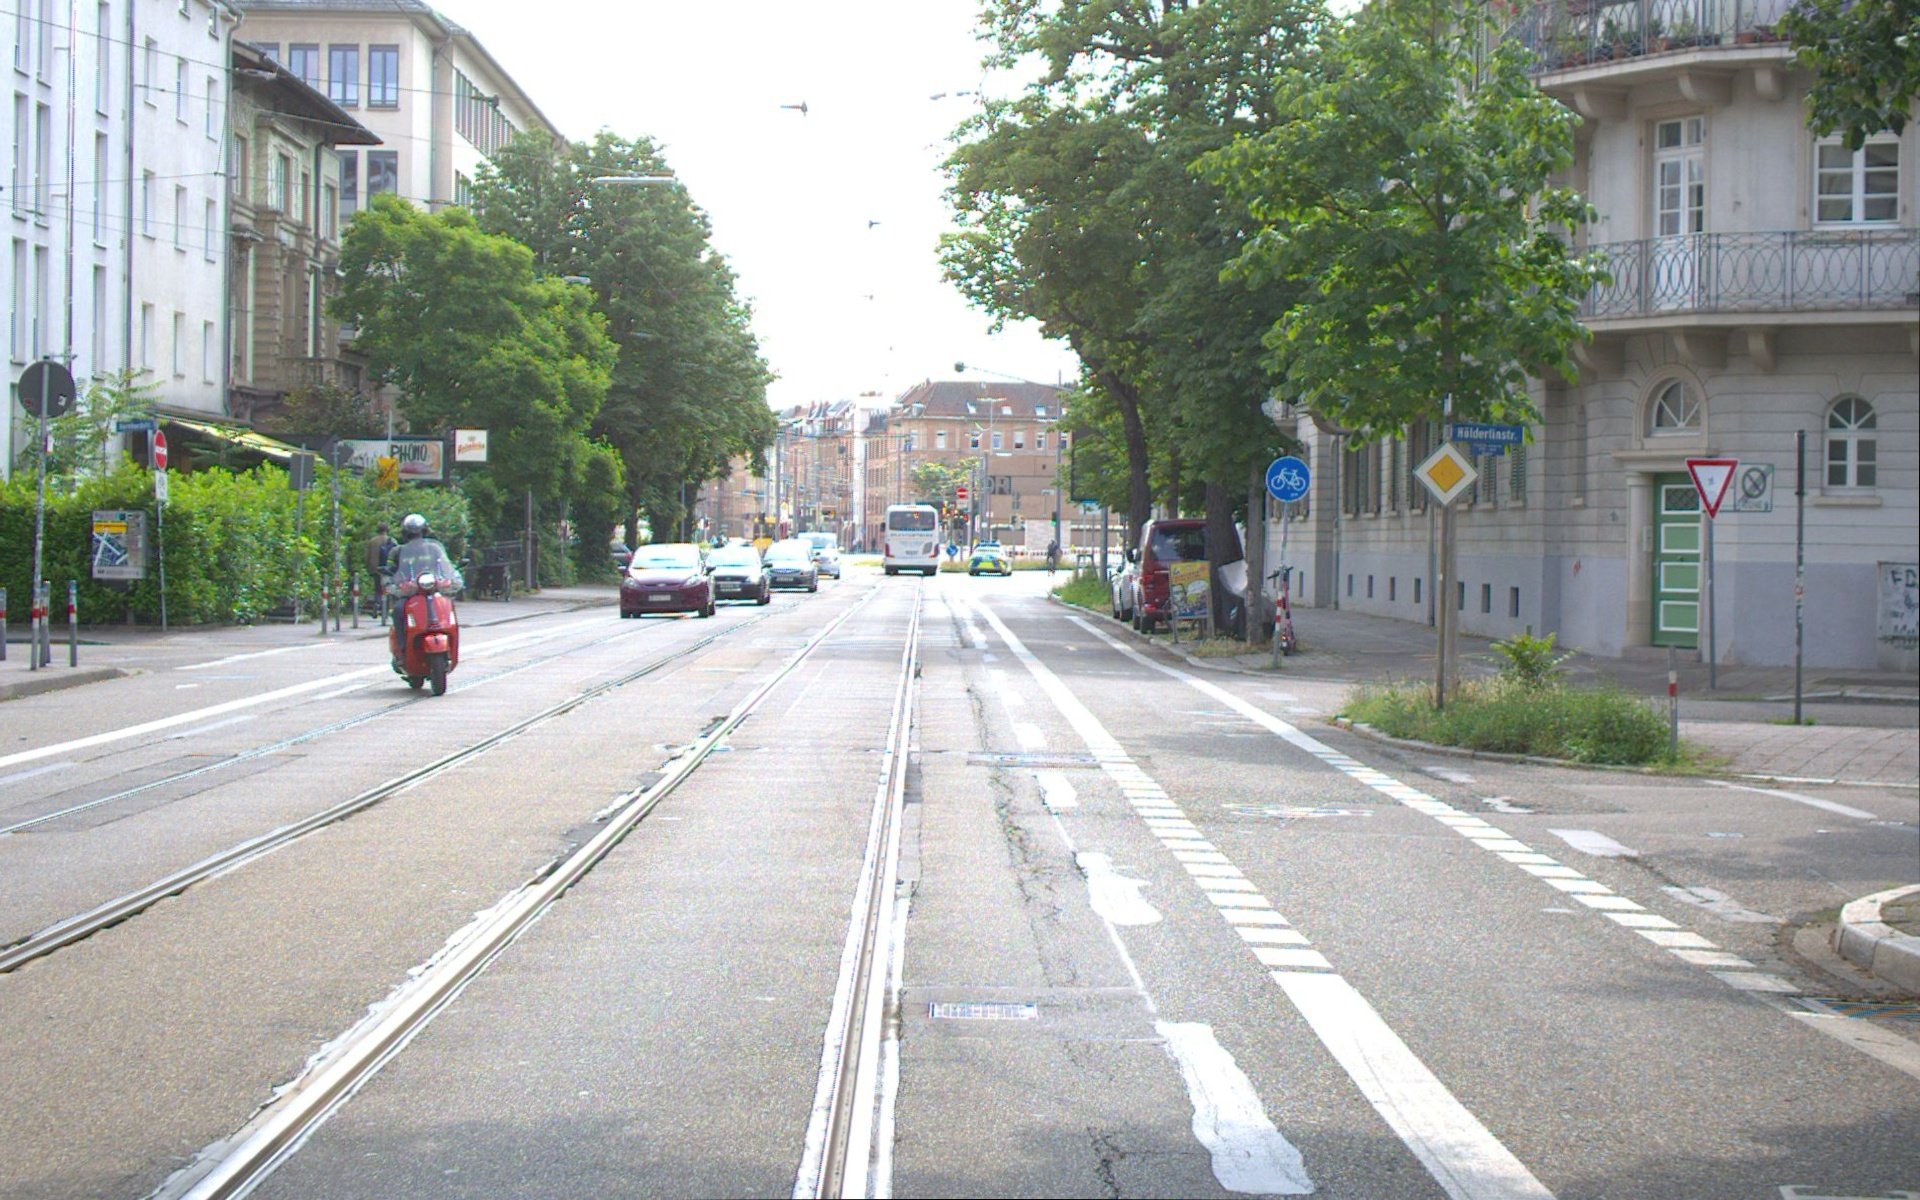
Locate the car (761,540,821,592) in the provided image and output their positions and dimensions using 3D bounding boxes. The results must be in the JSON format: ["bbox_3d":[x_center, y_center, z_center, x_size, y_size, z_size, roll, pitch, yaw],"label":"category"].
[{"bbox_3d":[-5.137,-1.055,105.040,1.727,1.535,4.277,0,1,-1],"label":"car"}]

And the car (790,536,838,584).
[{"bbox_3d":[-6.012,-1.671,141.552,1.897,1.901,5.385,1,1,-2],"label":"car"}]

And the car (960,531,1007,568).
[{"bbox_3d":[1.165,-2.540,171.421,2.130,1.678,4.103,2,2,-2],"label":"car"}]

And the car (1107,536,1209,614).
[{"bbox_3d":[3.964,-0.528,69.465,1.707,1.493,4.789,1,1,-1],"label":"car"}]

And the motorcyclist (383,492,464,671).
[{"bbox_3d":[-5.228,-0.188,33.473,0.739,1.708,0.921,1,1,-10],"label":"motorcyclist"}]

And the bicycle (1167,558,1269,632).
[{"bbox_3d":[4.295,-0.091,57.212,1.610,1.199,0.590,1,1,-3],"label":"bicycle"}]

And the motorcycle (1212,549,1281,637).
[{"bbox_3d":[4.452,-0.125,53.552,0.857,1.317,2.445,1,1,0],"label":"motorcycle"}]

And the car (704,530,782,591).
[{"bbox_3d":[-5.221,-0.980,82.901,1.628,1.402,4.129,1,1,0],"label":"car"}]

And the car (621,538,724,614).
[{"bbox_3d":[-5.595,-0.486,67.283,1.594,1.435,3.936,-1,1,1],"label":"car"}]

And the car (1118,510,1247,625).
[{"bbox_3d":[3.888,-0.587,60.821,1.895,1.934,4.951,1,1,-1],"label":"car"}]

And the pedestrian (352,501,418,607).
[{"bbox_3d":[-10.574,-0.847,63.248,1.059,1.911,0.829,1,1,1],"label":"pedestrian"}]

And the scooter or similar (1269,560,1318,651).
[{"bbox_3d":[4.703,0.069,48.528,0.532,1.247,1.720,0,1,0],"label":"scooter or similar"}]

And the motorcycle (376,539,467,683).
[{"bbox_3d":[-5.242,0.089,33.556,0.739,1.355,2.089,1,1,-5],"label":"motorcycle"}]

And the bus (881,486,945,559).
[{"bbox_3d":[-2.317,-3.727,168.170,2.917,3.317,12.207,2,0,-1],"label":"bus"}]

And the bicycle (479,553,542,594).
[{"bbox_3d":[-11.130,-0.667,85.276,1.142,0.905,2.989,4,1,-1],"label":"bicycle"}]
